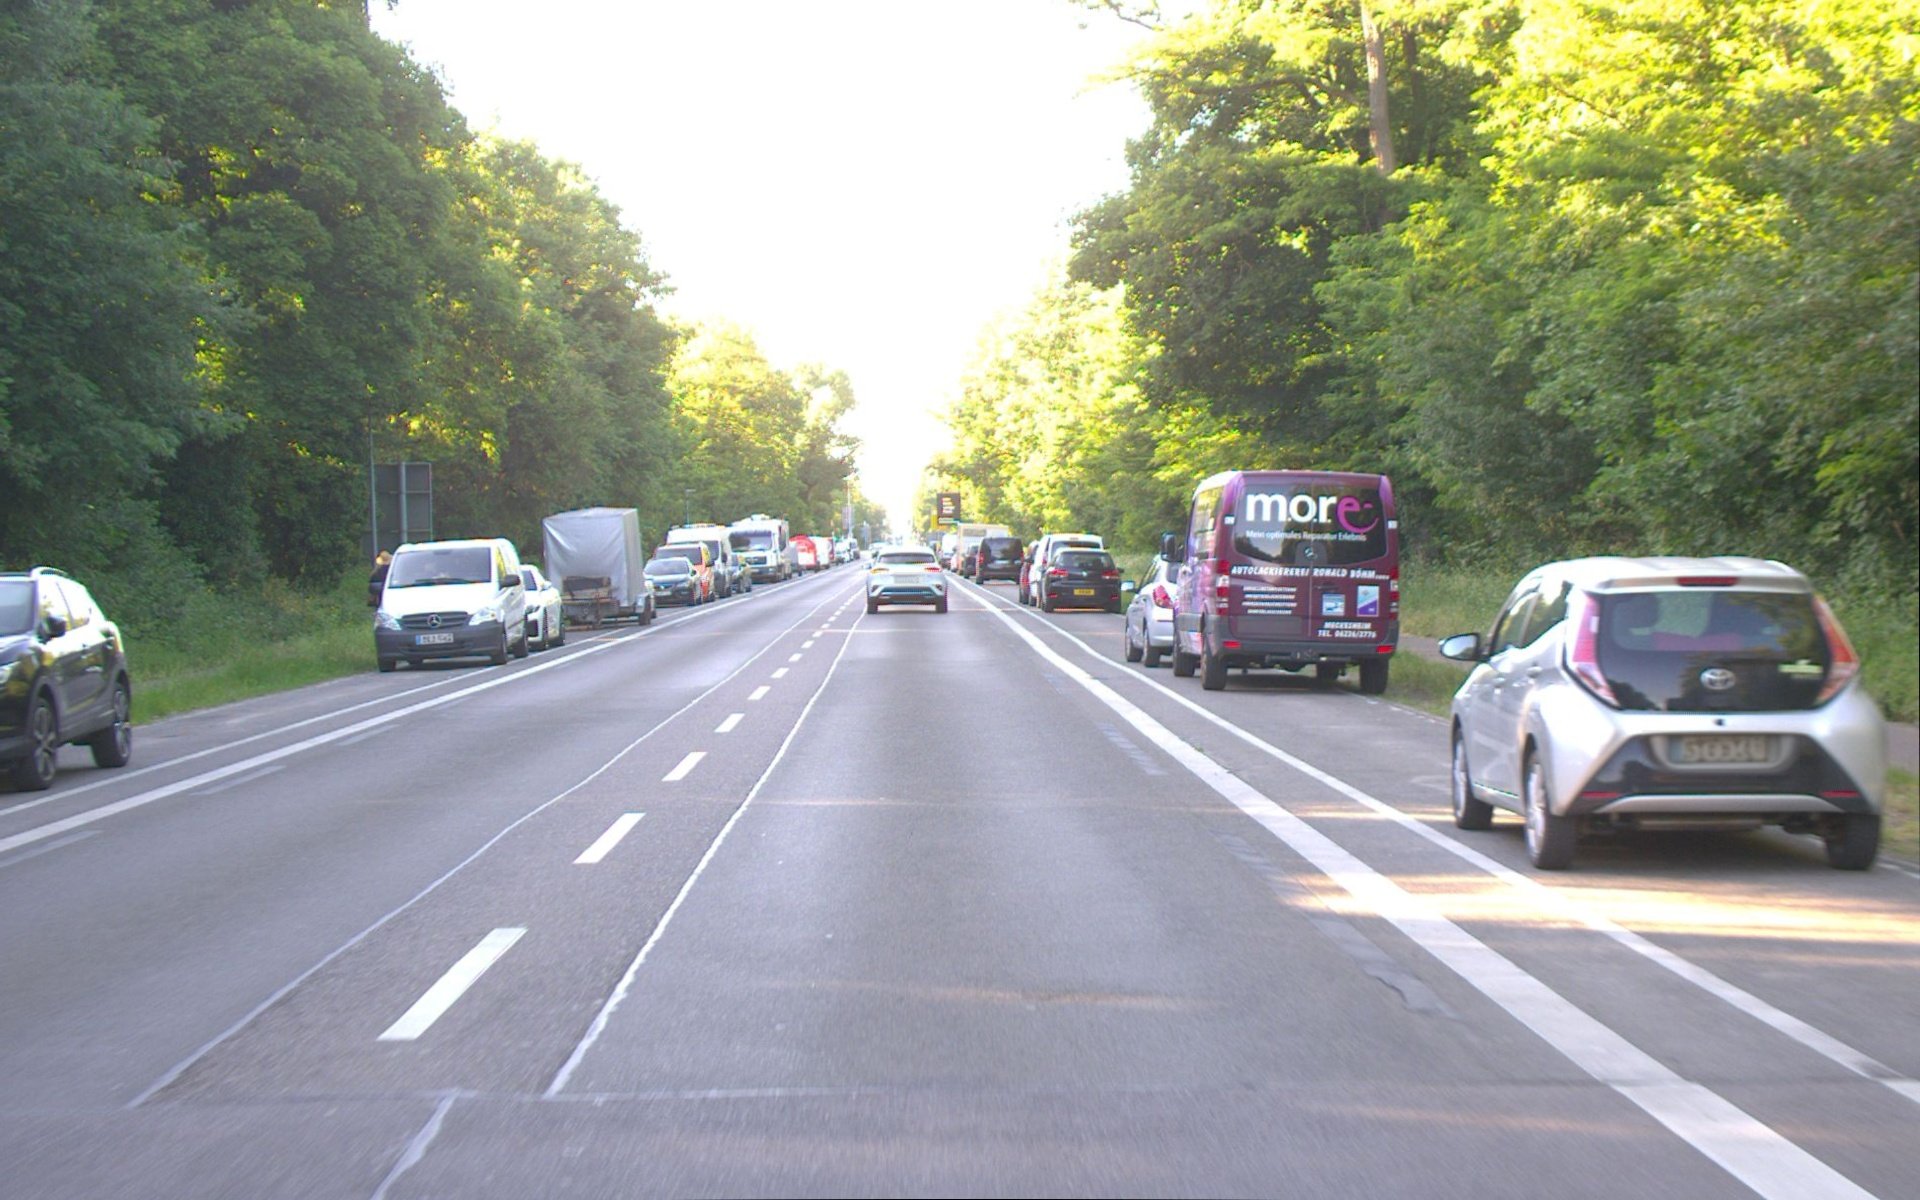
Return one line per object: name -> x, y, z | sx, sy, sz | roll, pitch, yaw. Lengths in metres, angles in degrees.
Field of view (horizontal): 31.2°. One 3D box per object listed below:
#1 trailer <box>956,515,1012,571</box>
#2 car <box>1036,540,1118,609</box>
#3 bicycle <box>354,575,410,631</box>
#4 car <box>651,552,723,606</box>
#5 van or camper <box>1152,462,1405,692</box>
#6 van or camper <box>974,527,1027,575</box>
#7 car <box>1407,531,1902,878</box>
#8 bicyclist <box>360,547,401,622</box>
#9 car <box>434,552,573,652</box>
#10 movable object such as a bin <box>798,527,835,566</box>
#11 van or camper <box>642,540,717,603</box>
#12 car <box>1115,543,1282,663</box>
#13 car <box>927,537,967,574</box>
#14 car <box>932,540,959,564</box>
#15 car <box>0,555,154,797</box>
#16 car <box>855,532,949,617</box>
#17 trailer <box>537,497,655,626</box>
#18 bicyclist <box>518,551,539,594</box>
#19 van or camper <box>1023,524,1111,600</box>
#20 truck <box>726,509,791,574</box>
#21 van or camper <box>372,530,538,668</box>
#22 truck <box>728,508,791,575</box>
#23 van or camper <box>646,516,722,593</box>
trailer -> 1.260, -3.053, 183.458 | 2.757, 2.860, 6.589 | -1, 1, -1
car -> 2.649, -0.601, 78.558 | 1.690, 1.519, 4.150 | 0, 1, -1
bicycle -> -10.800, 0.050, 64.318 | 0.651, 1.005, 2.396 | -1, 1, -1
car -> -8.020, -0.638, 101.371 | 1.731, 1.473, 4.324 | -3, 1, 0
van or camper -> 3.459, -0.306, 38.535 | 2.035, 2.304, 6.041 | -2, 1, -2
van or camper -> 1.612, -1.981, 138.454 | 1.993, 1.925, 5.199 | 0, 1, -1
car -> 3.412, 0.435, 17.614 | 1.712, 1.540, 4.022 | 1, 1, 0
bicyclist -> -10.817, -0.296, 64.180 | 0.604, 1.369, 0.799 | -1, 1, -1
car -> -7.753, 0.001, 58.700 | 1.774, 1.535, 4.525 | -3, 1, -1
movable object such as a bin -> -9.458, -3.501, 226.655 | 2.322, 2.493, 4.000 | -1, 1, -1
van or camper -> -8.789, -0.922, 108.064 | 1.923, 1.860, 4.863 | -3, 1, 0
car -> 3.113, 0.008, 45.516 | 1.747, 1.510, 4.001 | 0, 1, -3
car -> -0.618, -2.097, 161.192 | 1.841, 1.656, 4.000 | -1, 1, 0
car -> -0.955, -3.095, 219.383 | 1.656, 1.473, 3.754 | -1, 1, -1
car -> -7.379, 0.539, 25.734 | 1.646, 1.626, 4.274 | -3, 1, -1
car -> -1.306, -0.597, 78.424 | 2.028, 1.834, 4.029 | -1, 1, 0
trailer -> -7.842, -0.855, 74.433 | 1.993, 2.588, 4.416 | -3, 1, -1
bicyclist -> -12.475, -0.808, 99.370 | 0.487, 1.231, 0.974 | -1, 1, -1
van or camper -> 2.618, -0.962, 84.963 | 1.951, 1.809, 4.381 | -1, 1, -1
truck -> -9.770, -2.845, 167.357 | 2.707, 3.083, 7.990 | -1, 1, -1
van or camper -> -7.565, -0.063, 51.917 | 1.835, 1.905, 4.856 | -3, 1, -1
truck -> -10.394, -3.037, 179.285 | 2.707, 3.336, 10.924 | -1, 1, -1
van or camper -> -9.601, -1.601, 120.067 | 2.121, 2.563, 6.542 | -2, 1, 0
